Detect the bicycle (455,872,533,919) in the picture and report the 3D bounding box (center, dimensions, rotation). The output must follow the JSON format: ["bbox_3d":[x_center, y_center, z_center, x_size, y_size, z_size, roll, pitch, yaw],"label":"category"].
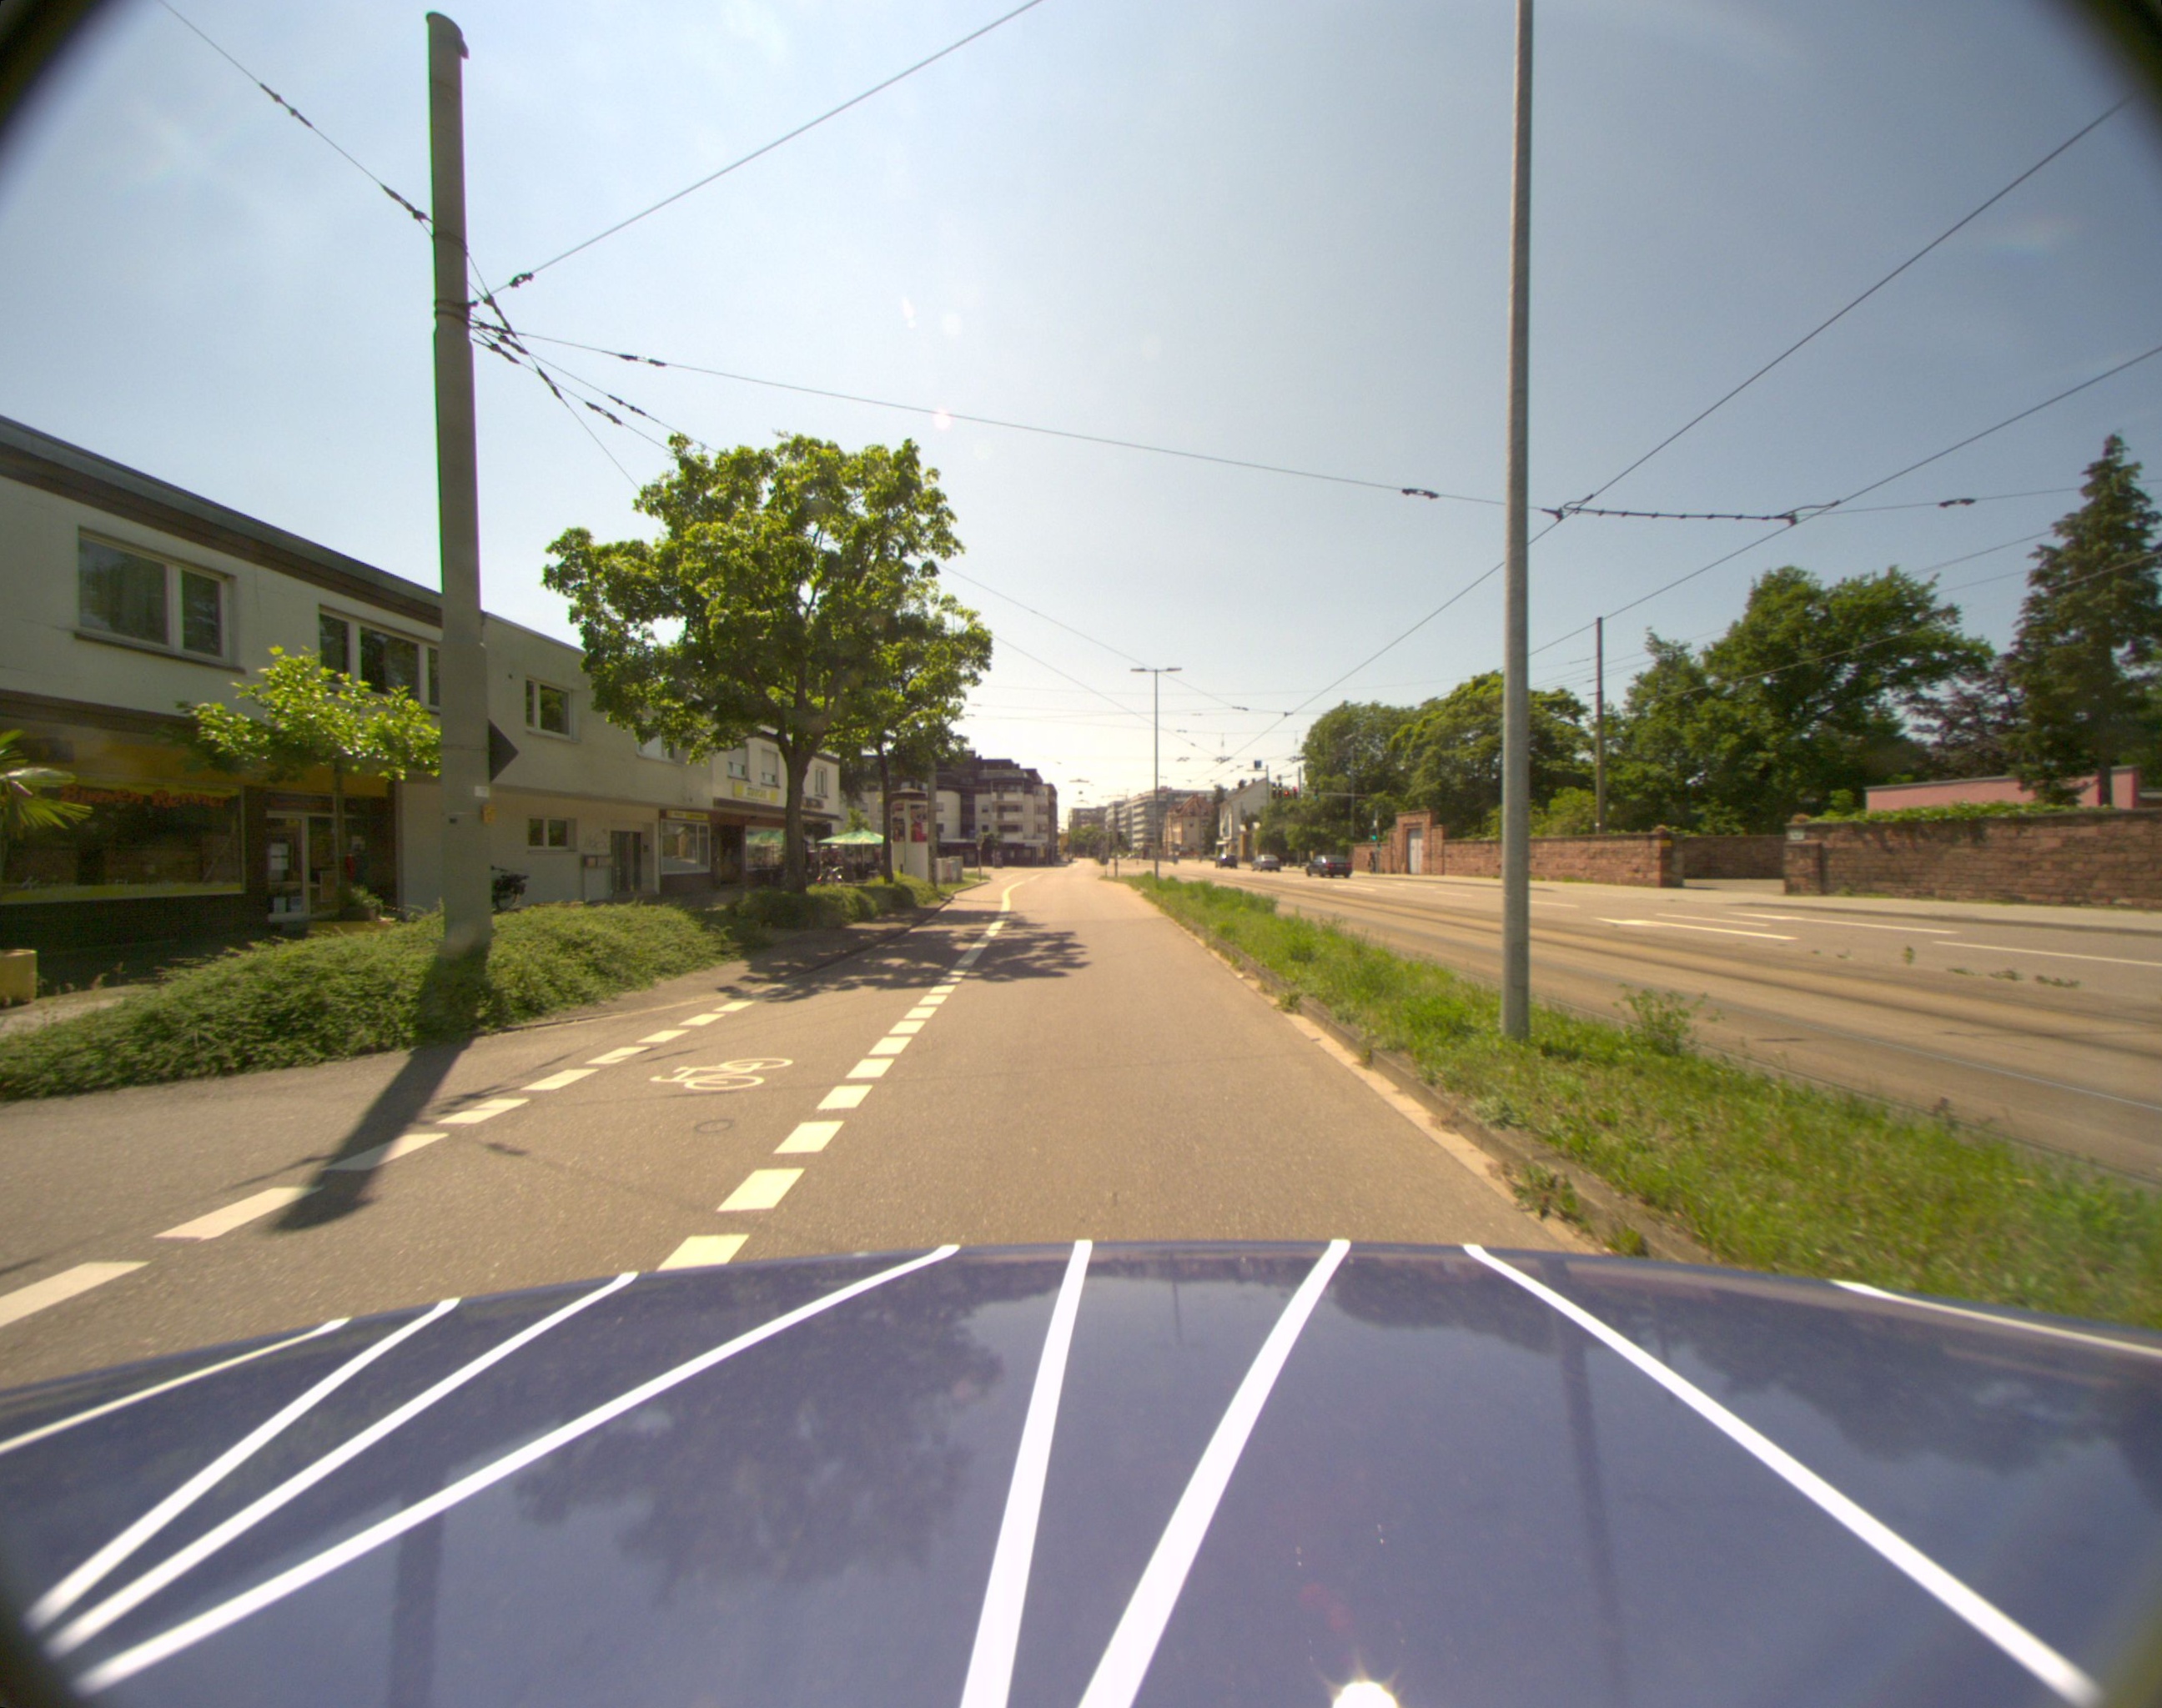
[{"bbox_3d":[-14.639,1.008,19.006,0.544,1.062,1.900,0,0,-4],"label":"bicycle"}]

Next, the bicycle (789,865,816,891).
[{"bbox_3d":[-11.943,1.008,32.629,0.544,1.062,2.021,0,0,-4],"label":"bicycle"}]

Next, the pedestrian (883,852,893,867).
[{"bbox_3d":[-21.694,0.632,85.494,0.806,1.615,0.943,0,1,7],"label":"pedestrian"}]

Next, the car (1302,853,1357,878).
[{"bbox_3d":[15.655,0.682,48.070,1.845,1.408,5.033,-3,0,1],"label":"car"}]

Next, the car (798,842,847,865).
[{"bbox_3d":[-30.681,-0.027,90.290,5.203,2.712,2.001,0,1,0],"label":"car"}]

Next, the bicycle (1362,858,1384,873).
[{"bbox_3d":[19.912,0.781,51.902,0.654,0.951,2.114,-1,0,-1],"label":"bicycle"}]

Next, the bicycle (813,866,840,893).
[{"bbox_3d":[-10.863,1.062,32.487,0.544,1.062,2.021,0,0,-4],"label":"bicycle"}]

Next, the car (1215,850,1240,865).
[{"bbox_3d":[15.989,0.375,82.924,1.845,1.546,4.465,0,0,0],"label":"car"}]

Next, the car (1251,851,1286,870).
[{"bbox_3d":[15.953,0.532,64.989,1.845,1.408,4.710,-3,0,1],"label":"car"}]

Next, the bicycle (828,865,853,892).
[{"bbox_3d":[-10.275,1.030,32.500,0.544,1.062,2.021,0,0,-4],"label":"bicycle"}]

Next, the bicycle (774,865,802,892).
[{"bbox_3d":[-12.544,1.041,32.556,0.544,1.062,2.021,0,0,-4],"label":"bicycle"}]

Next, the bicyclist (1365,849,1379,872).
[{"bbox_3d":[19.902,0.443,51.926,0.654,1.488,0.662,-1,1,-1],"label":"bicyclist"}]
